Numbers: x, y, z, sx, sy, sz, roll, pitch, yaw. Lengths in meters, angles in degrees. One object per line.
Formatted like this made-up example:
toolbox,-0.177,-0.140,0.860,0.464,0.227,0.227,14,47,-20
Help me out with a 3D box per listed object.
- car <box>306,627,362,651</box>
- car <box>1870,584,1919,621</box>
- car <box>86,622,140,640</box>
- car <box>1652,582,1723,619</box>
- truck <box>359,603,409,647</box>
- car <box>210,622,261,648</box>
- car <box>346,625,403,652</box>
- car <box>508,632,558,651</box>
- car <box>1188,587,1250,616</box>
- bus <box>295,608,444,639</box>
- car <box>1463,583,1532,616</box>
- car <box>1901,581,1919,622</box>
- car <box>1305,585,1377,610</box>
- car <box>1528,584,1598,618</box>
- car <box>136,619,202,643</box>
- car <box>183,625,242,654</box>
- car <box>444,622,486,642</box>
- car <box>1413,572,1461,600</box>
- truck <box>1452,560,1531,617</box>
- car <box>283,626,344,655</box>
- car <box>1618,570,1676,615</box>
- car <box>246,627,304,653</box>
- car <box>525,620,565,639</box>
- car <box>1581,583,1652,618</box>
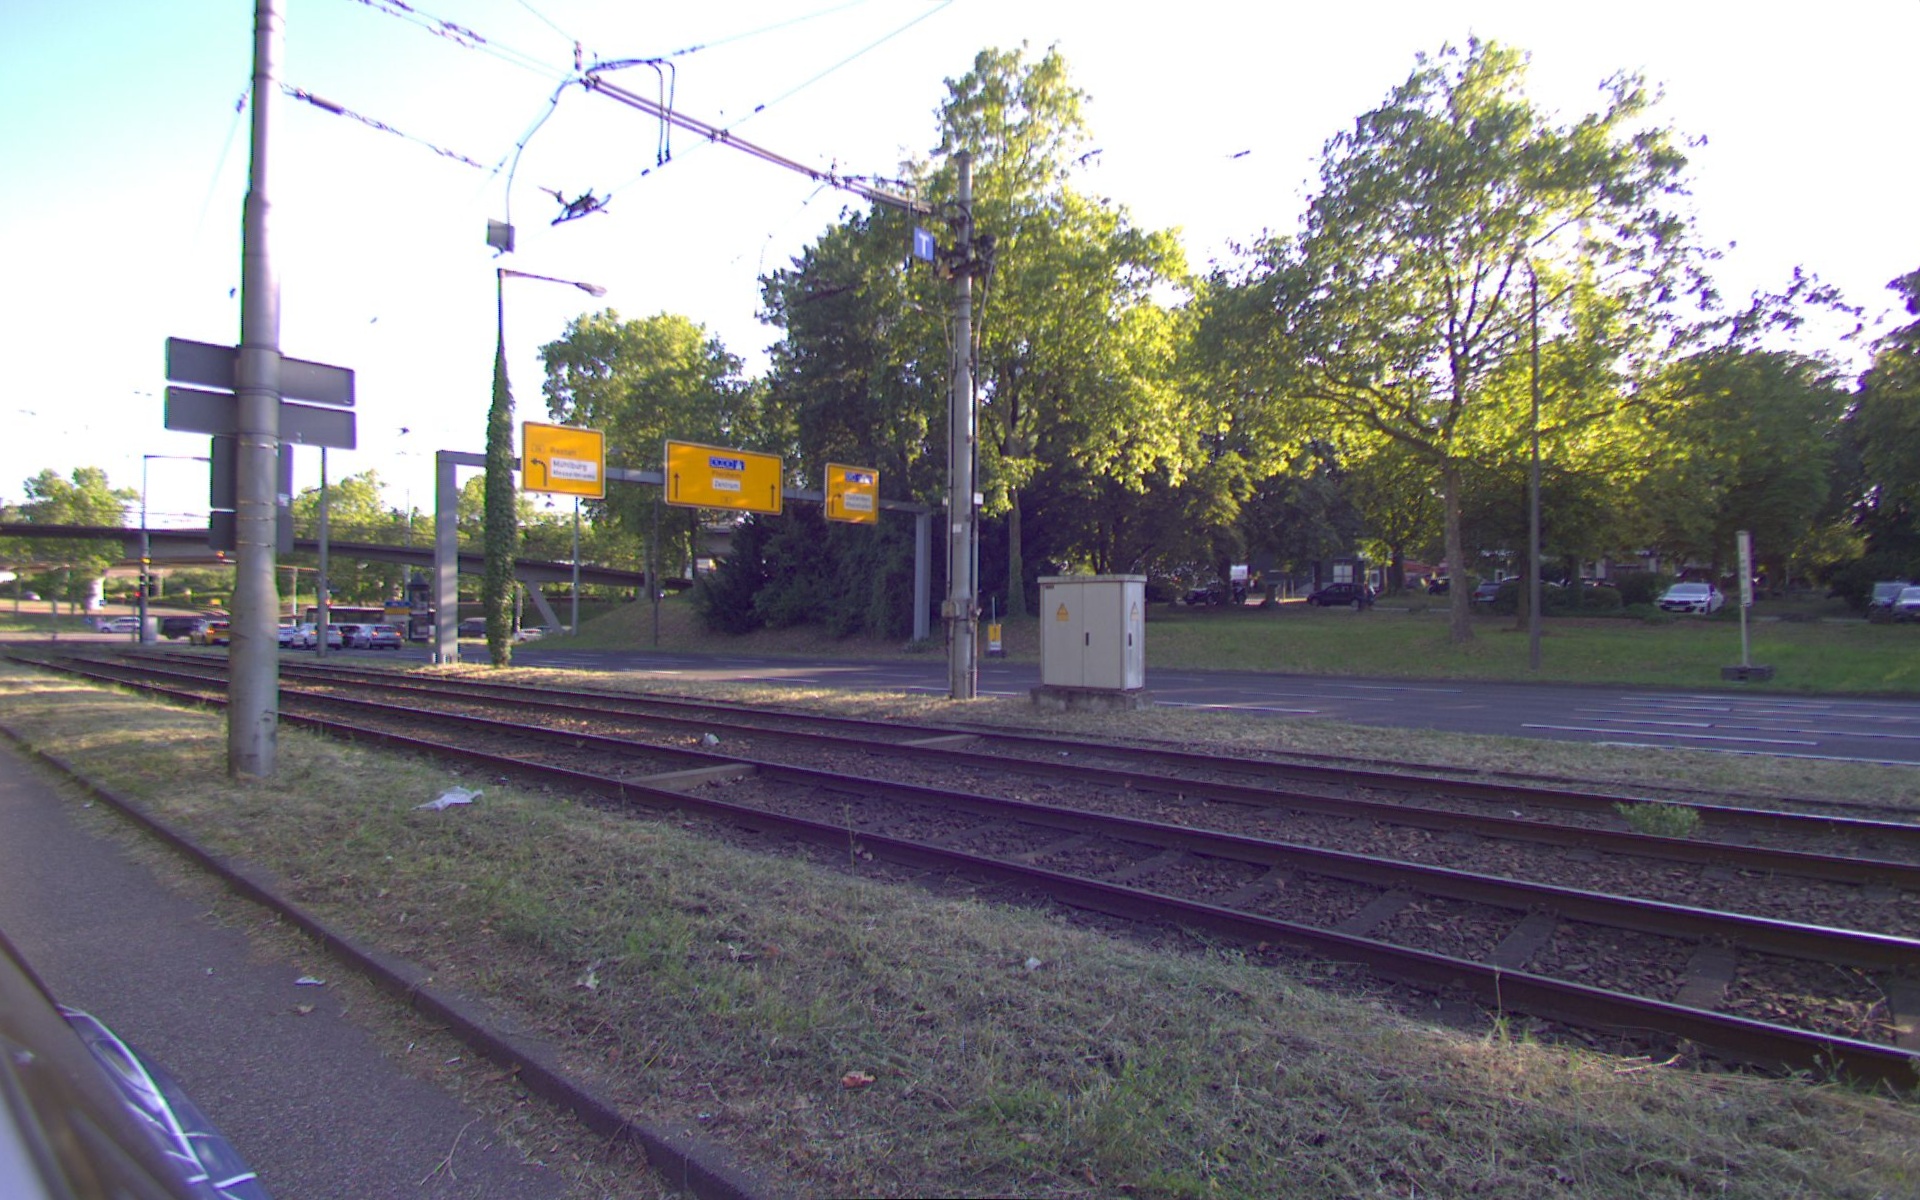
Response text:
car,-39.778,2.442,64.237,4.224,1.435,1.844,-1,-1,40
car,43.954,0.096,47.238,3.998,1.628,1.864,-1,0,-43
car,-78.369,2.859,93.656,3.593,1.523,1.668,-1,0,-29
car,31.547,0.005,43.856,1.942,1.521,4.039,0,0,44
truck,-40.319,1.752,70.776,2.248,2.901,6.895,0,-1,-37
car,-45.853,2.195,64.052,4.228,1.561,1.892,-1,-2,44
car,-34.990,2.274,60.433,3.998,1.556,1.789,-1,-1,41
car,-37.613,3.615,89.188,3.960,1.504,1.629,-1,0,-27
car,15.380,0.067,59.968,1.791,1.657,3.942,-1,-1,44
bus,-60.071,2.361,103.499,12.965,2.884,2.425,-1,0,-26
car,26.155,-0.041,49.197,1.942,1.521,4.039,0,0,44
car,37.566,0.037,38.904,1.942,1.521,4.039,0,0,44
car,22.953,-0.157,61.083,3.726,1.474,1.651,0,1,44
car,28.411,0.018,47.668,1.942,1.521,4.039,0,0,44
car,-60.415,2.362,77.377,3.934,1.668,1.789,-1,0,-36
car,-40.819,2.134,55.263,3.997,1.556,1.744,-1,-1,40
car,-50.821,3.294,103.939,3.748,1.872,1.682,-1,0,-30
car,33.540,-0.990,71.073,2.290,1.864,5.214,-1,1,34
truck,31.727,-0.685,60.296,2.503,3.191,6.137,0,0,45
car,-35.756,2.214,55.964,3.997,1.556,1.744,-1,-1,40
car,36.870,-0.398,54.251,2.161,2.320,4.348,0,0,40
car,-40.589,2.361,59.962,4.226,1.435,1.893,-1,-1,42
car,-45.516,3.234,111.075,3.832,1.872,1.682,-1,0,-30
car,30.020,0.009,46.231,1.942,1.521,4.039,0,0,44
